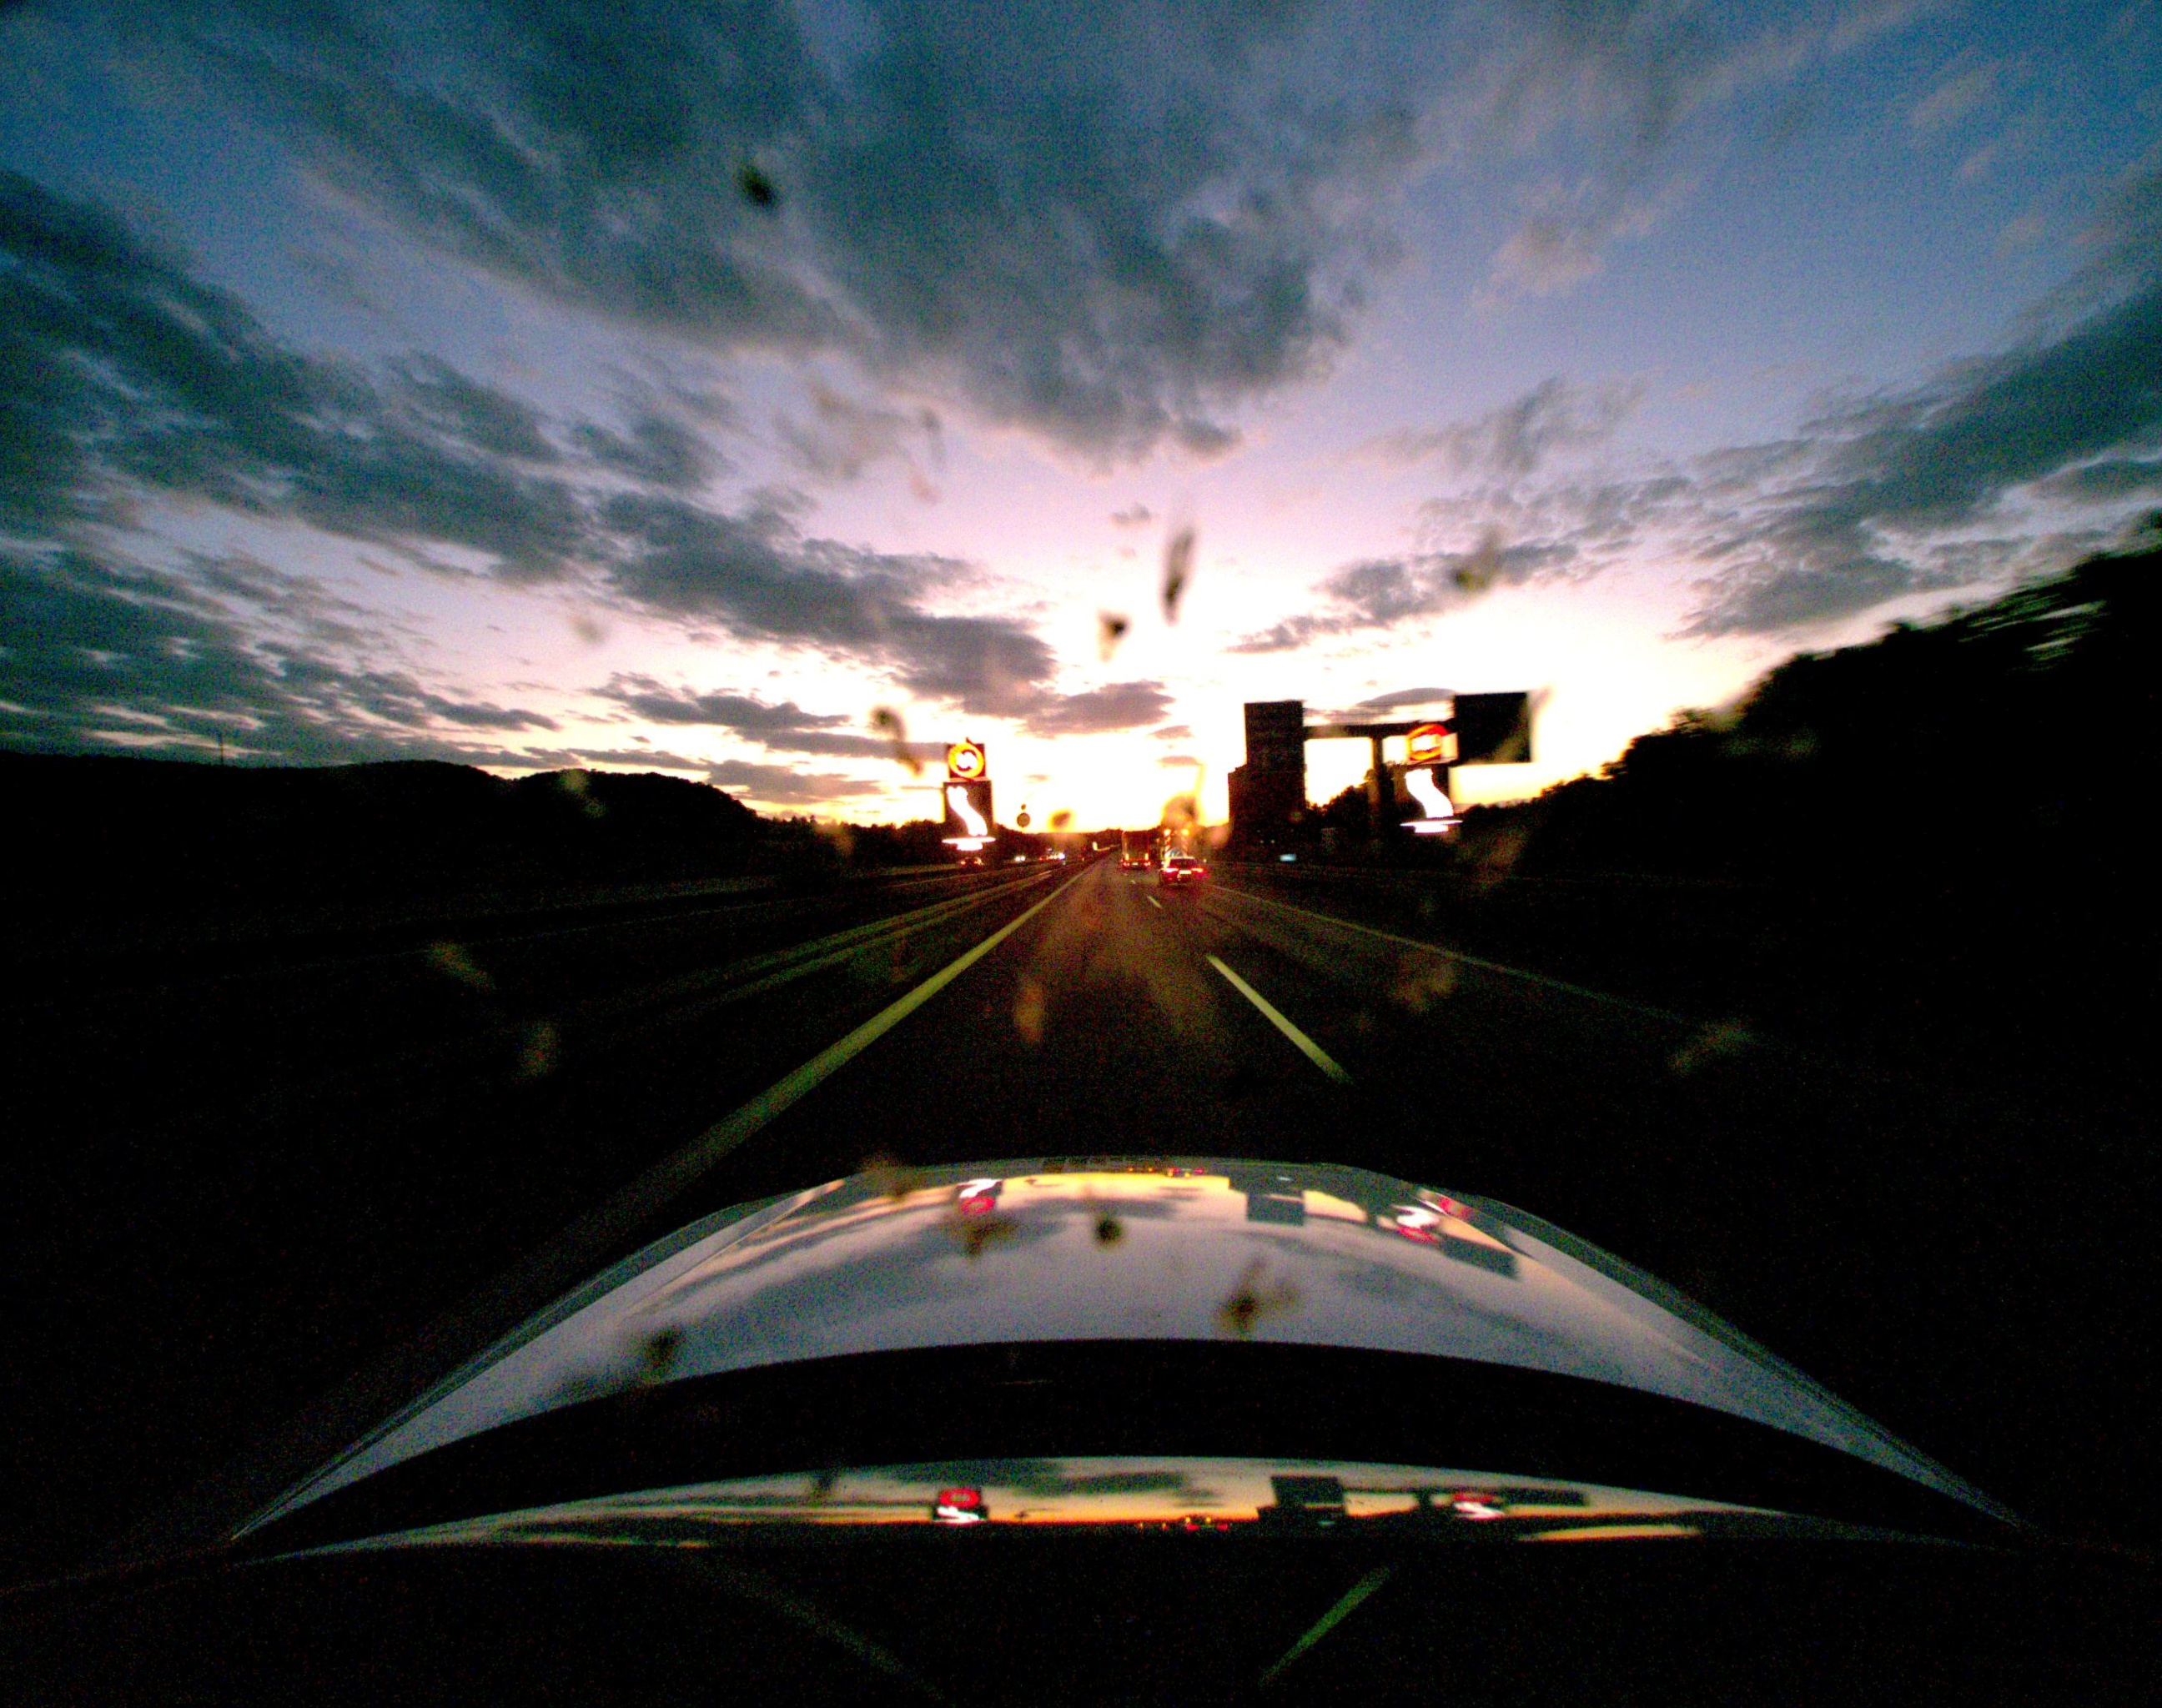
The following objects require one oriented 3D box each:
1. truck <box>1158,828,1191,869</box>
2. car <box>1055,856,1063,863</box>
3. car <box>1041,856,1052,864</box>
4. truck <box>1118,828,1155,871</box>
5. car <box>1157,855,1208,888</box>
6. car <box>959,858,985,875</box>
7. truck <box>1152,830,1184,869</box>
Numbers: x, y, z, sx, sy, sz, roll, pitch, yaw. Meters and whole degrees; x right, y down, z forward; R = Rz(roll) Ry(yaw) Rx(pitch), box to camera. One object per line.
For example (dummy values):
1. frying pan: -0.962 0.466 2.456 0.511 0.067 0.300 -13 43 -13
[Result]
1. truck: 9.634 -0.537 84.819 2.777 4.059 6.414 -1 0 2
2. car: -5.452 1.395 199.188 1.632 1.546 3.396 -3 0 2
3. car: -6.848 1.206 161.344 1.706 1.605 3.723 -3 0 2
4. truck: 6.004 -0.449 90.402 3.497 4.301 9.894 -3 0 1
5. car: 4.692 0.802 38.276 1.908 1.442 4.000 -1 0 0
6. car: -11.016 1.211 82.478 1.865 1.561 4.521 -3 0 2
7. truck: 9.814 -0.487 92.665 2.902 4.111 9.153 -1 0 2
